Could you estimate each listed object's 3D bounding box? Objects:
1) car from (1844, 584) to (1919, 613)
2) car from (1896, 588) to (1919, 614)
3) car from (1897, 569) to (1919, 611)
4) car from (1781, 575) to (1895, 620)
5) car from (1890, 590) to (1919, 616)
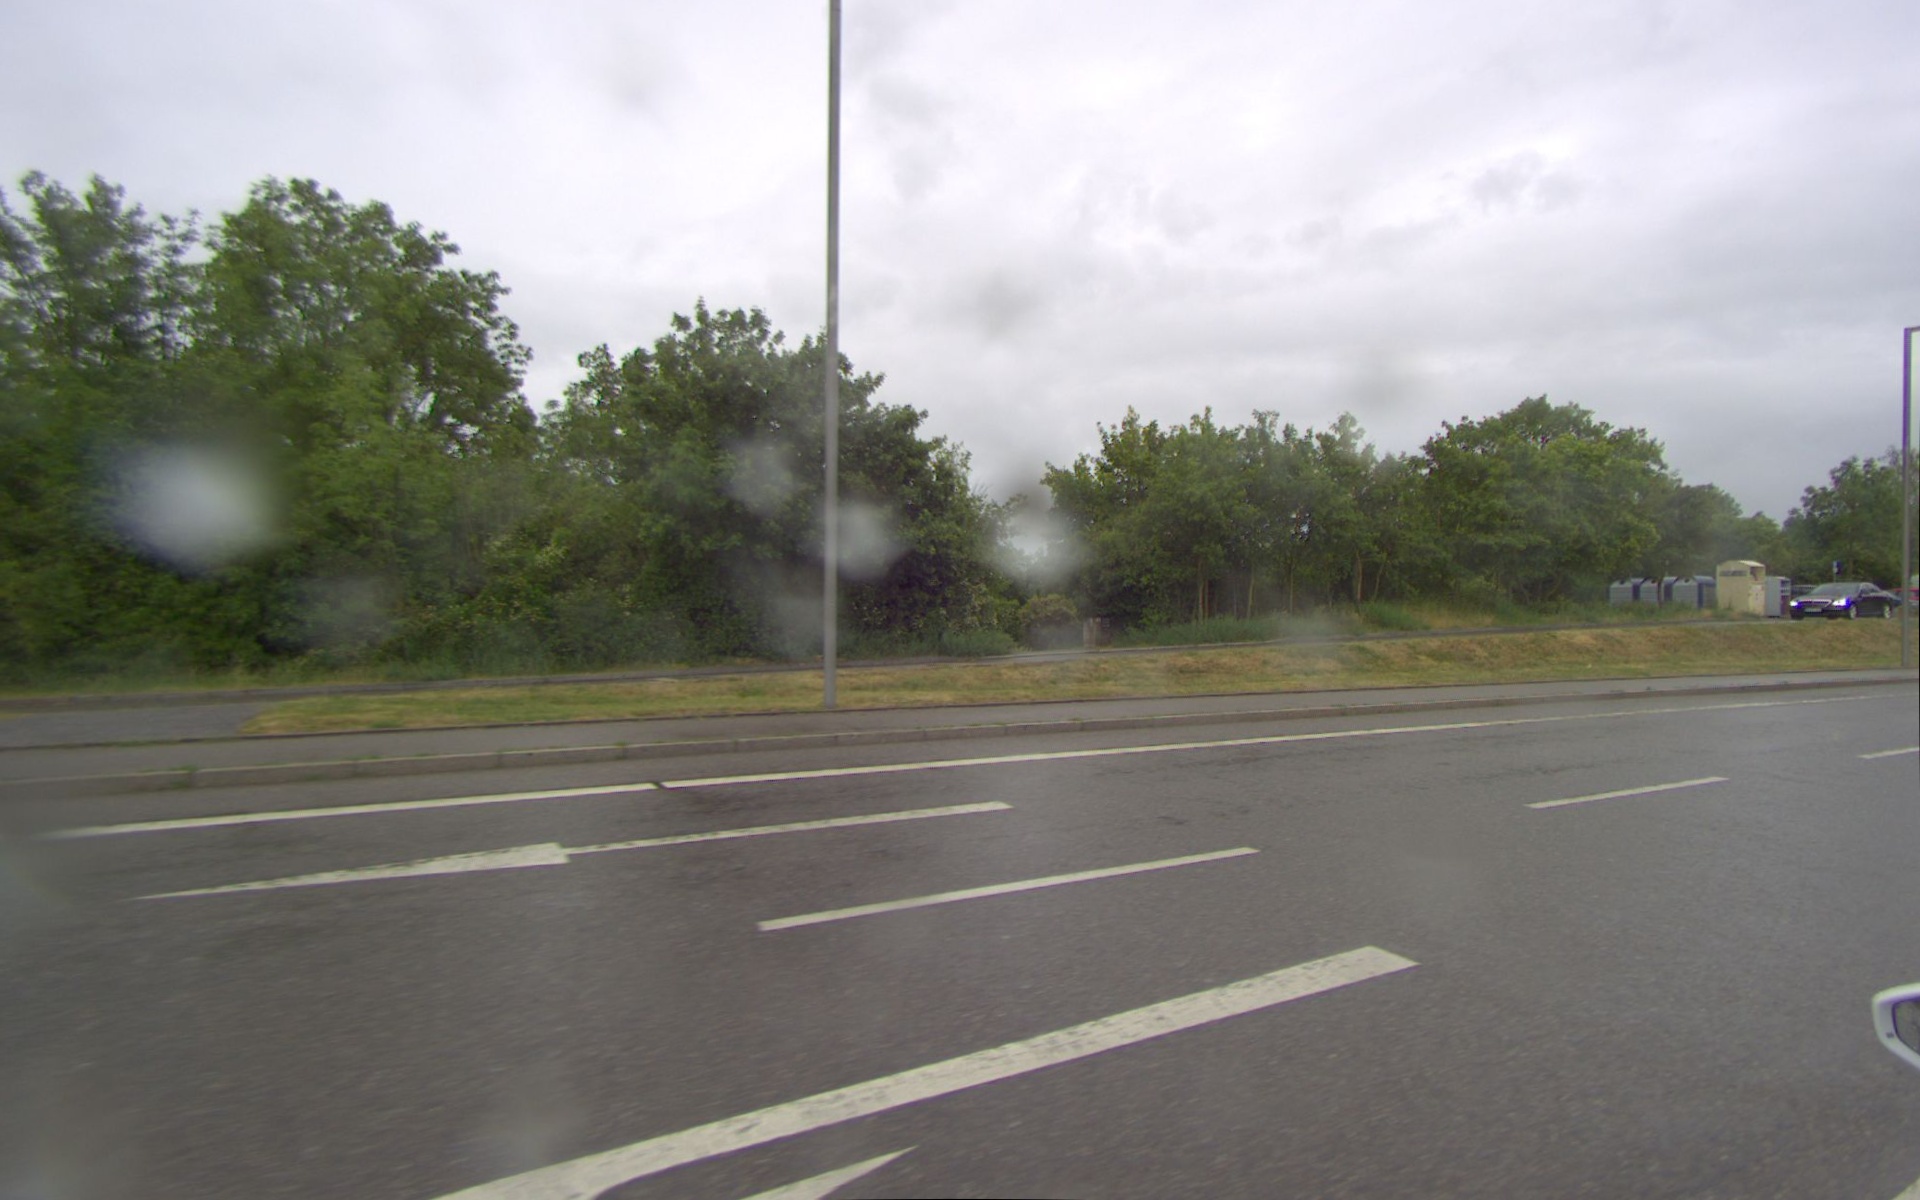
[{"bbox_3d":[49.150,-0.052,52.586,1.822,1.489,3.976,0,0,-25],"label":"car"},{"bbox_3d":[53.939,0.095,54.717,1.629,1.382,3.977,0,2,-23],"label":"car"},{"bbox_3d":[58.722,-0.534,57.926,2.113,2.429,6.526,2,0,-29],"label":"car"},{"bbox_3d":[33.546,-0.127,38.364,4.482,1.590,1.685,-1,3,-27],"label":"car"},{"bbox_3d":[52.342,0.172,53.361,1.821,1.382,3.978,0,0,-23],"label":"car"}]
